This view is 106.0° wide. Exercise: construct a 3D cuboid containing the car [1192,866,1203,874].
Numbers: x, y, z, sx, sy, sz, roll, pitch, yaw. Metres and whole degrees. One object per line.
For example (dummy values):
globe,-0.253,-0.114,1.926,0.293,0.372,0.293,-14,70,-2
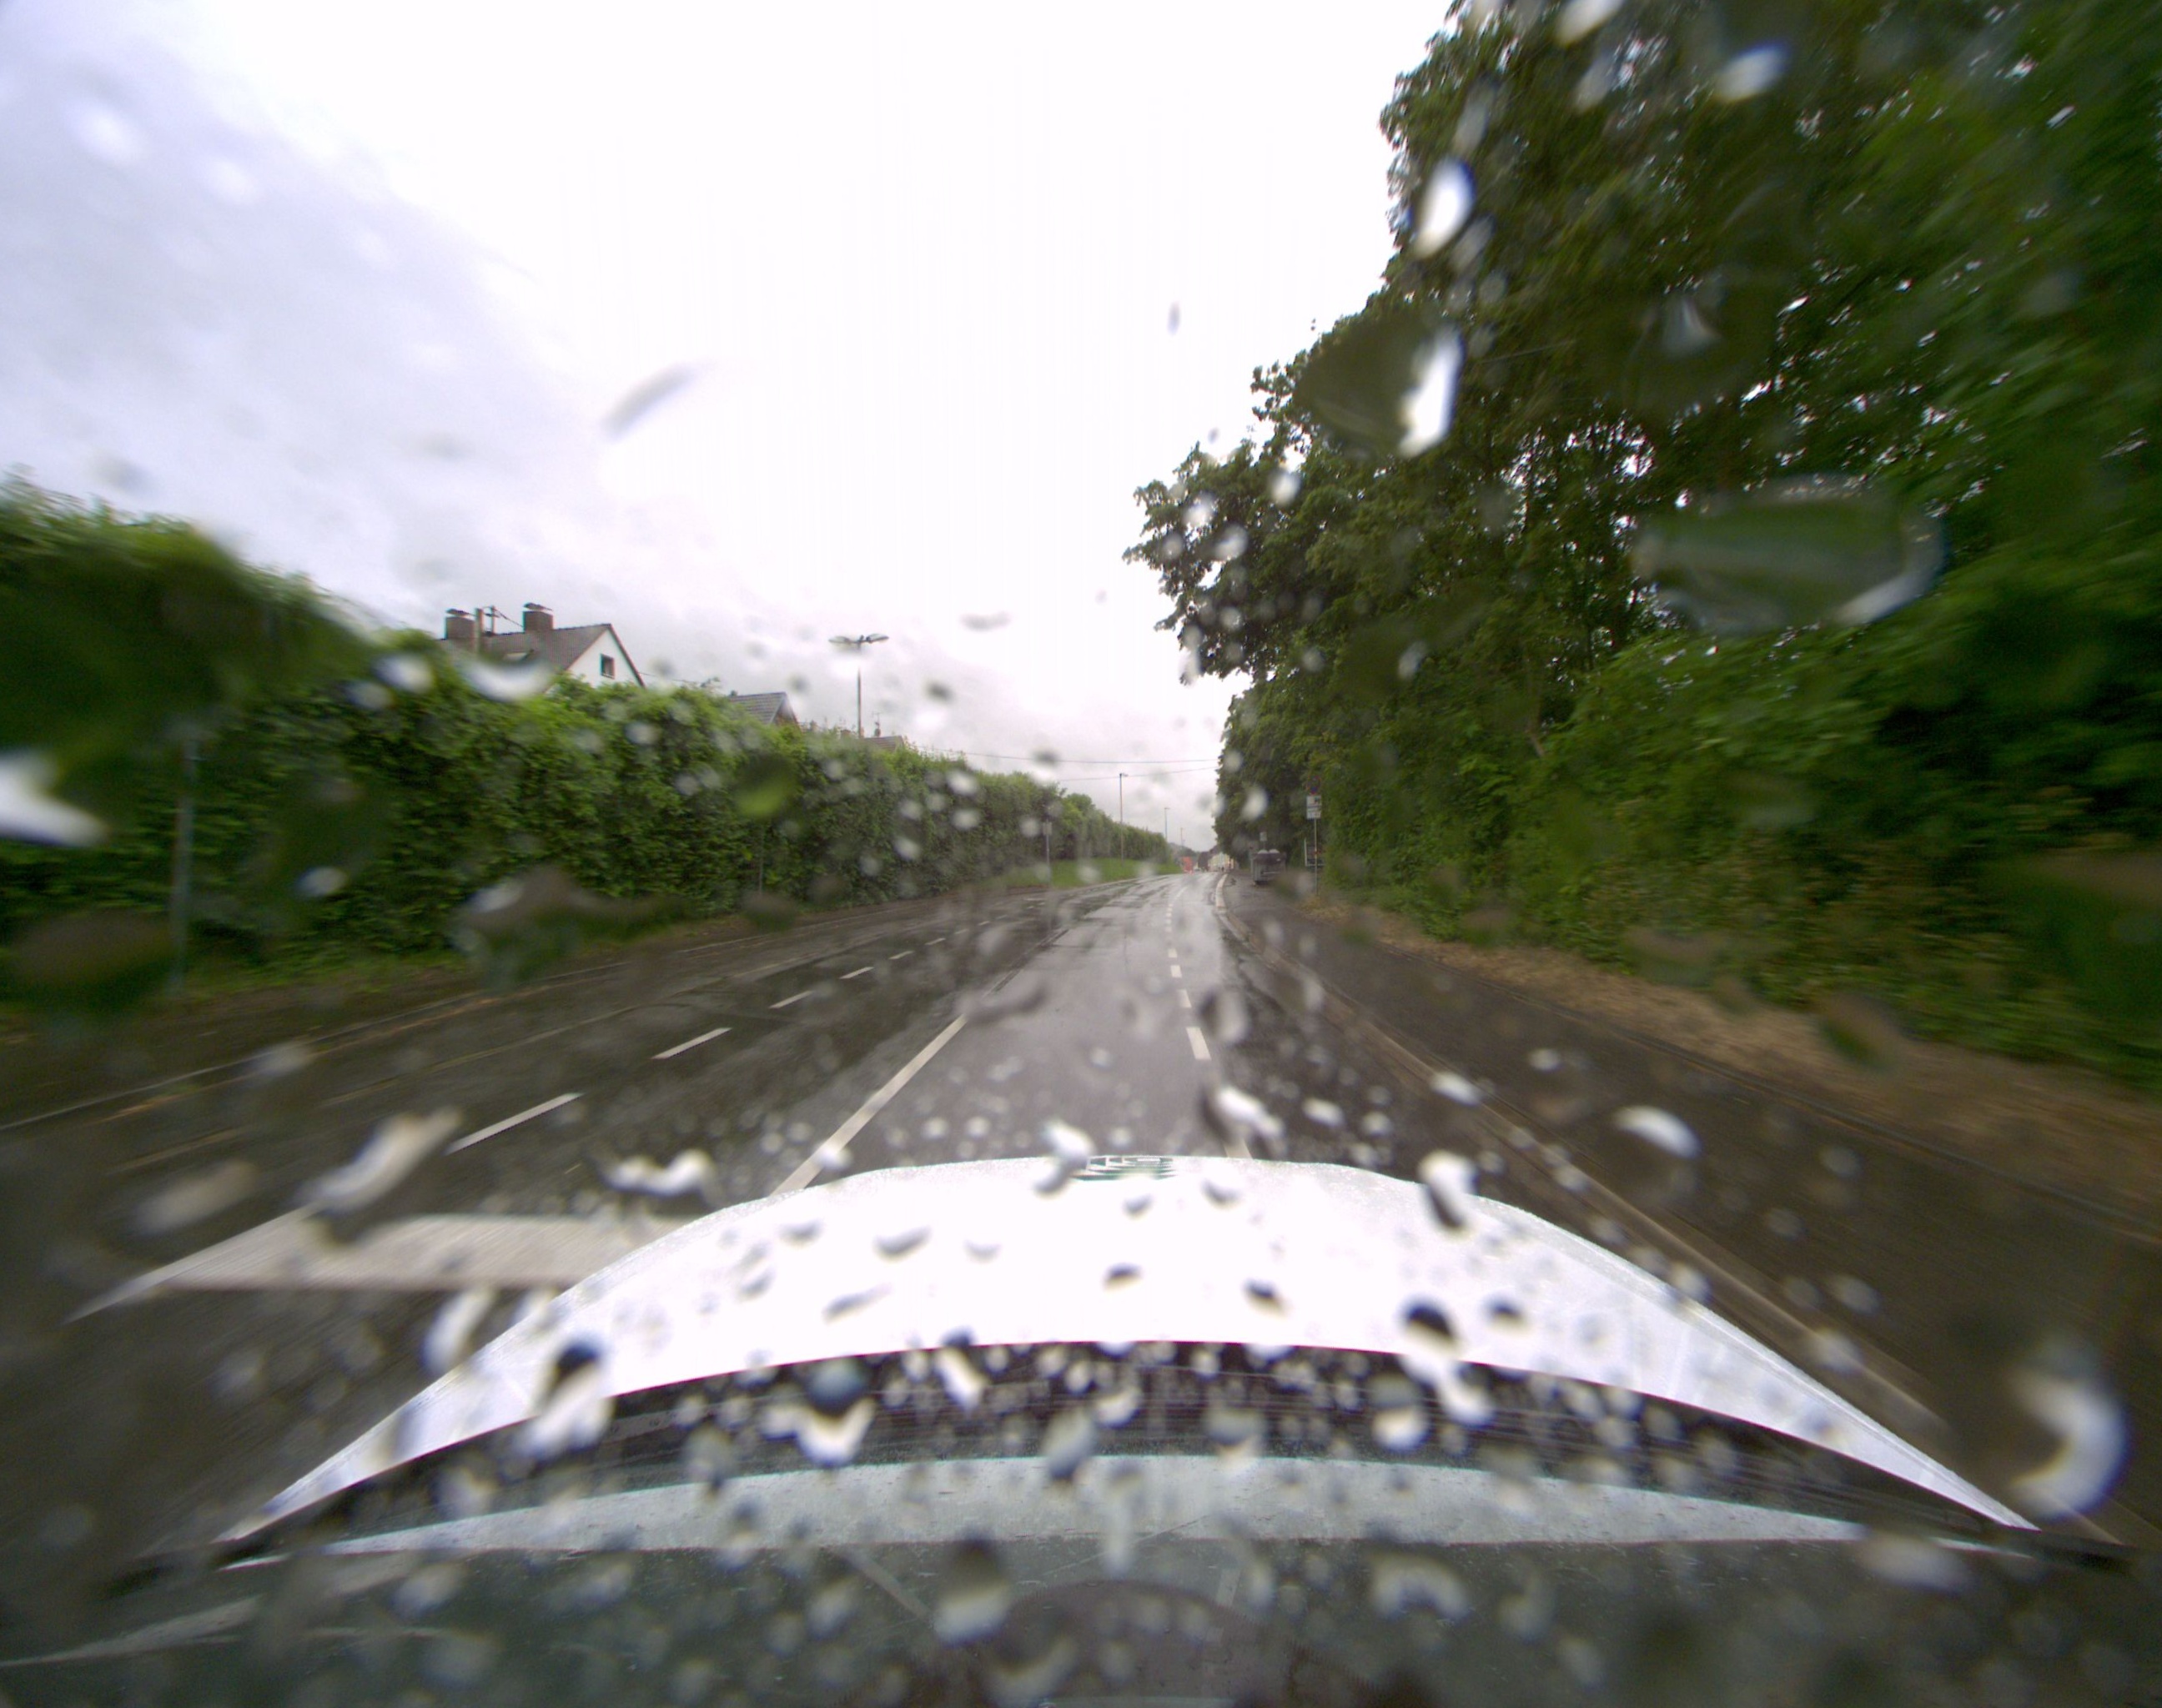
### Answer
car,24.253,3.325,169.480,1.986,1.611,4.002,0,0,2
